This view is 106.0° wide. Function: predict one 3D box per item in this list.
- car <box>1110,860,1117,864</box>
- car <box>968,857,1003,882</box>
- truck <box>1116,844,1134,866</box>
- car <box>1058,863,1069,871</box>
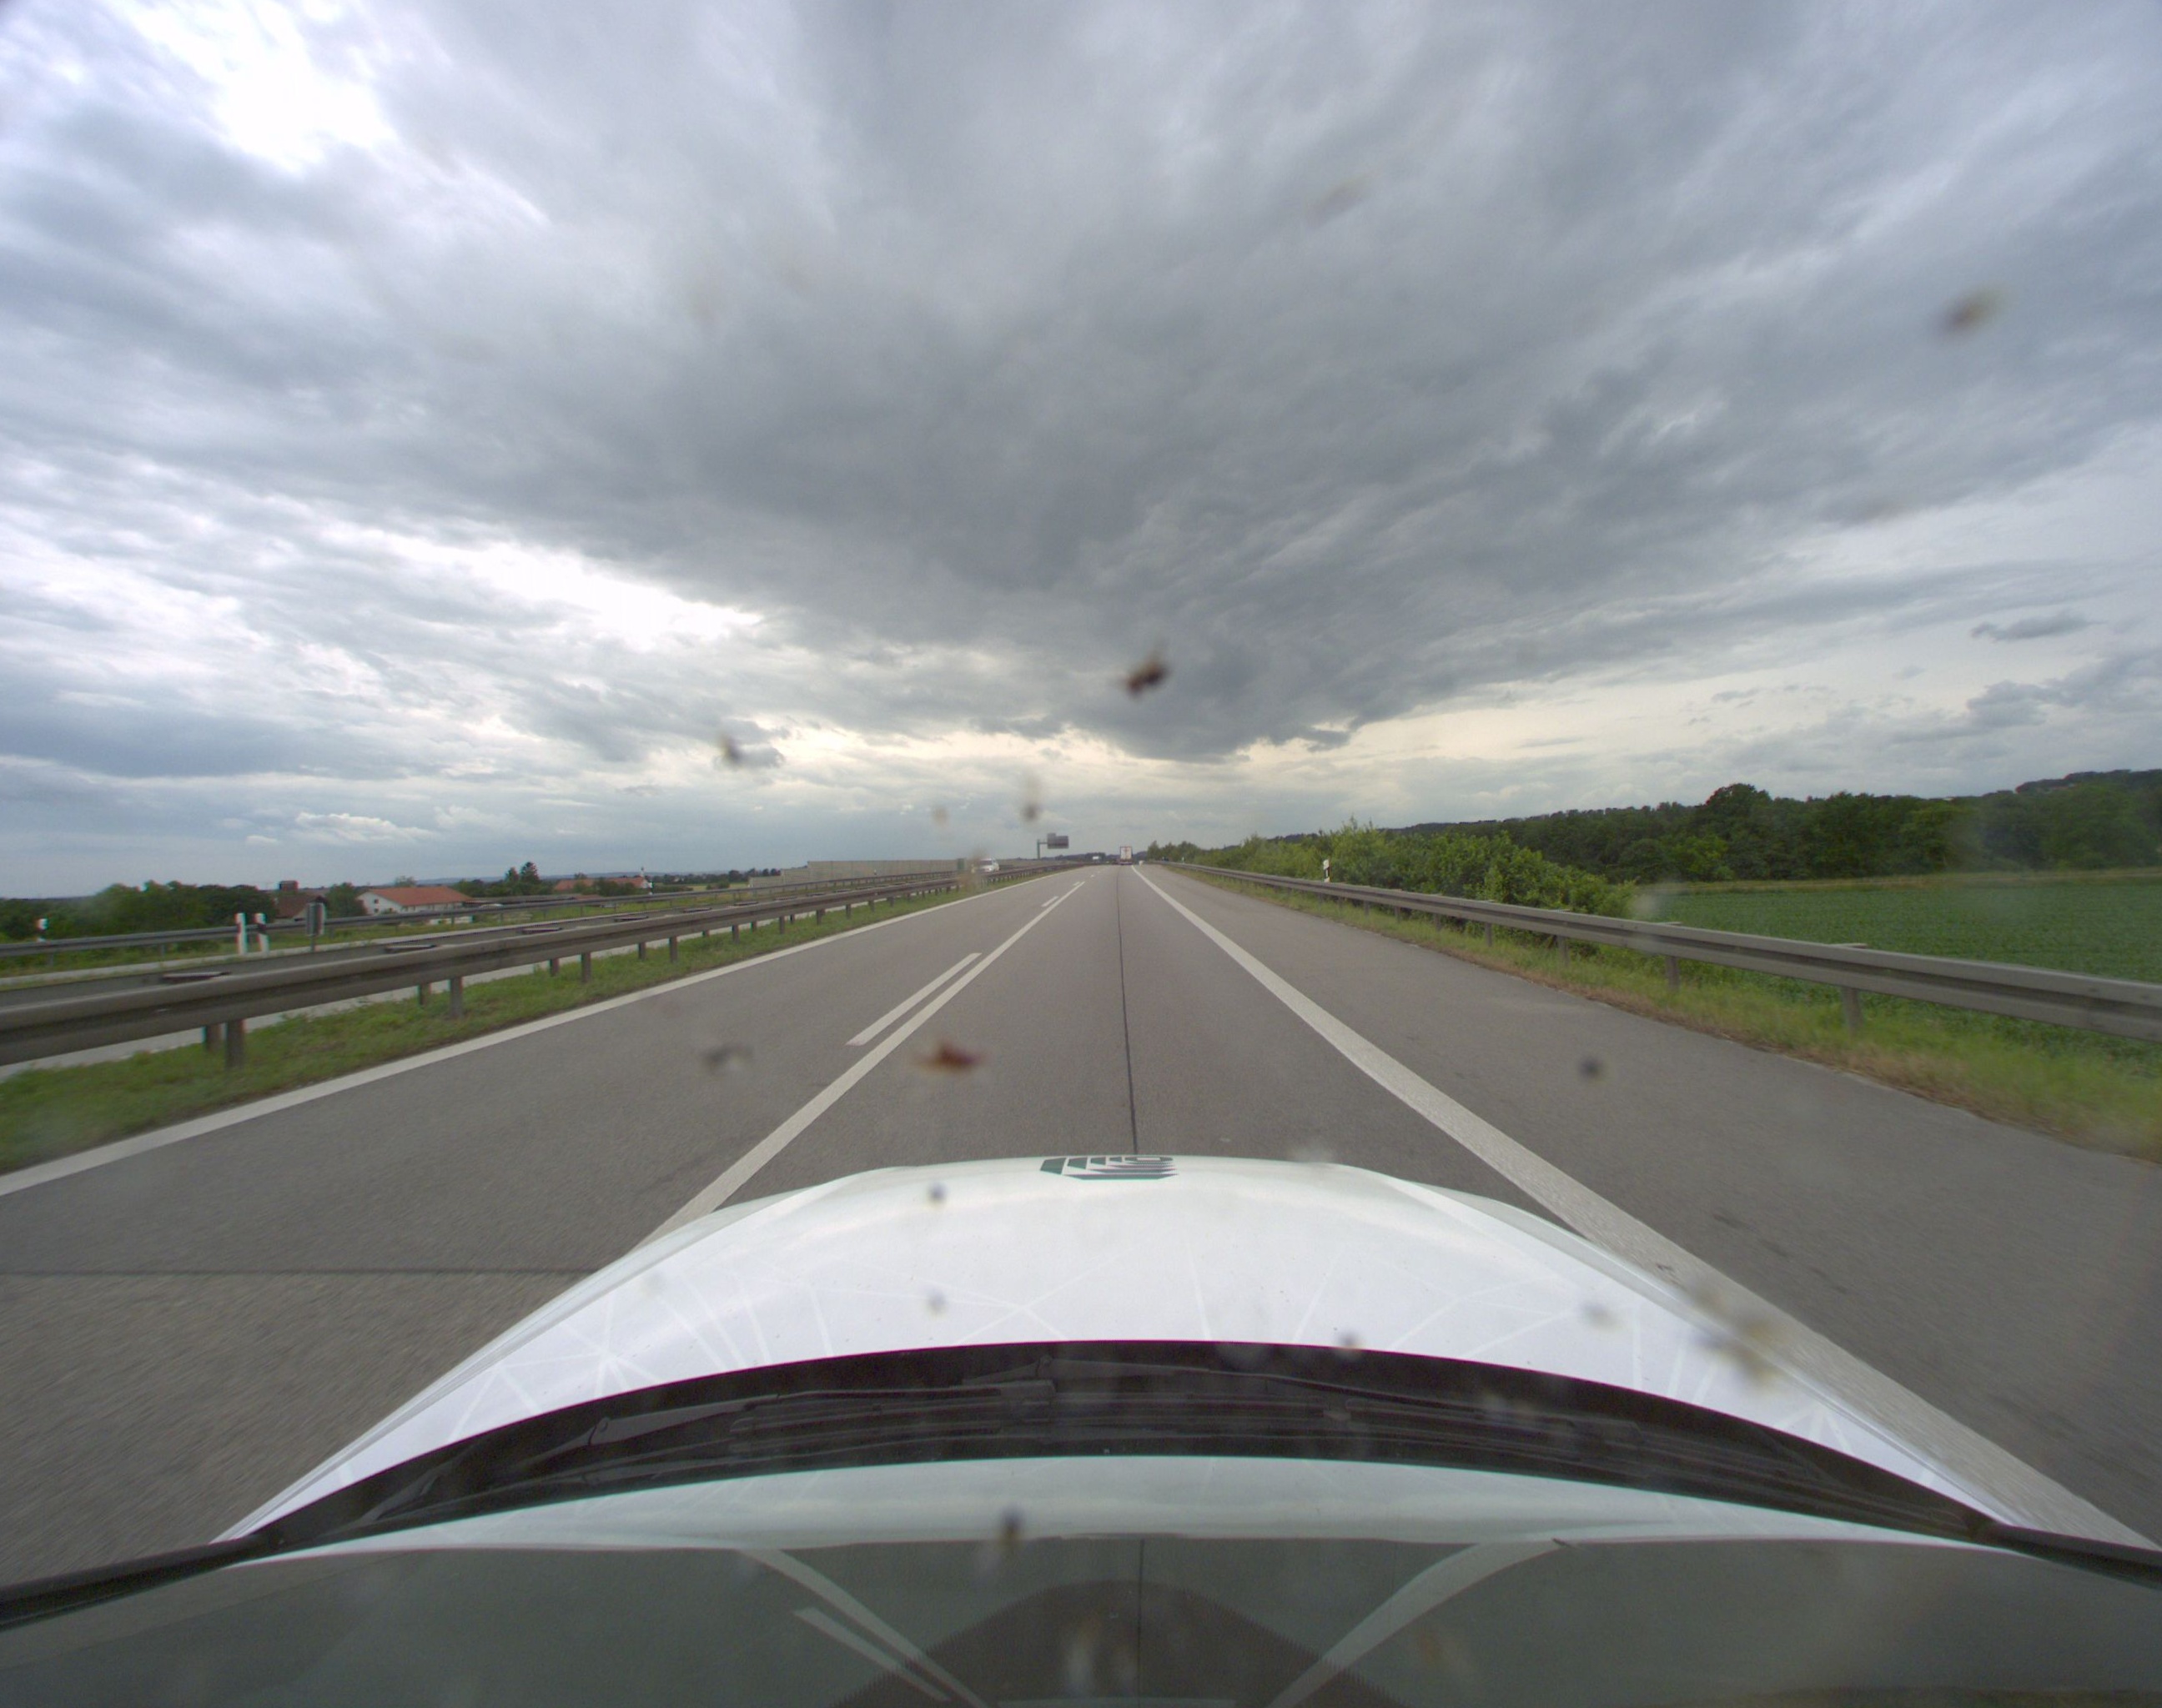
[{"bbox_3d":[9.833,2.448,249.077,1.986,1.420,4.001,-1,0,1],"label":"car"},{"bbox_3d":[-7.940,1.247,68.158,2.062,1.746,4.963,-4,1,2],"label":"car"},{"bbox_3d":[10.118,0.295,184.819,3.656,4.413,16.355,-2,-1,4],"label":"truck"},{"bbox_3d":[-3.322,2.478,155.605,1.780,1.451,5.177,-1,0,3],"label":"car"}]
